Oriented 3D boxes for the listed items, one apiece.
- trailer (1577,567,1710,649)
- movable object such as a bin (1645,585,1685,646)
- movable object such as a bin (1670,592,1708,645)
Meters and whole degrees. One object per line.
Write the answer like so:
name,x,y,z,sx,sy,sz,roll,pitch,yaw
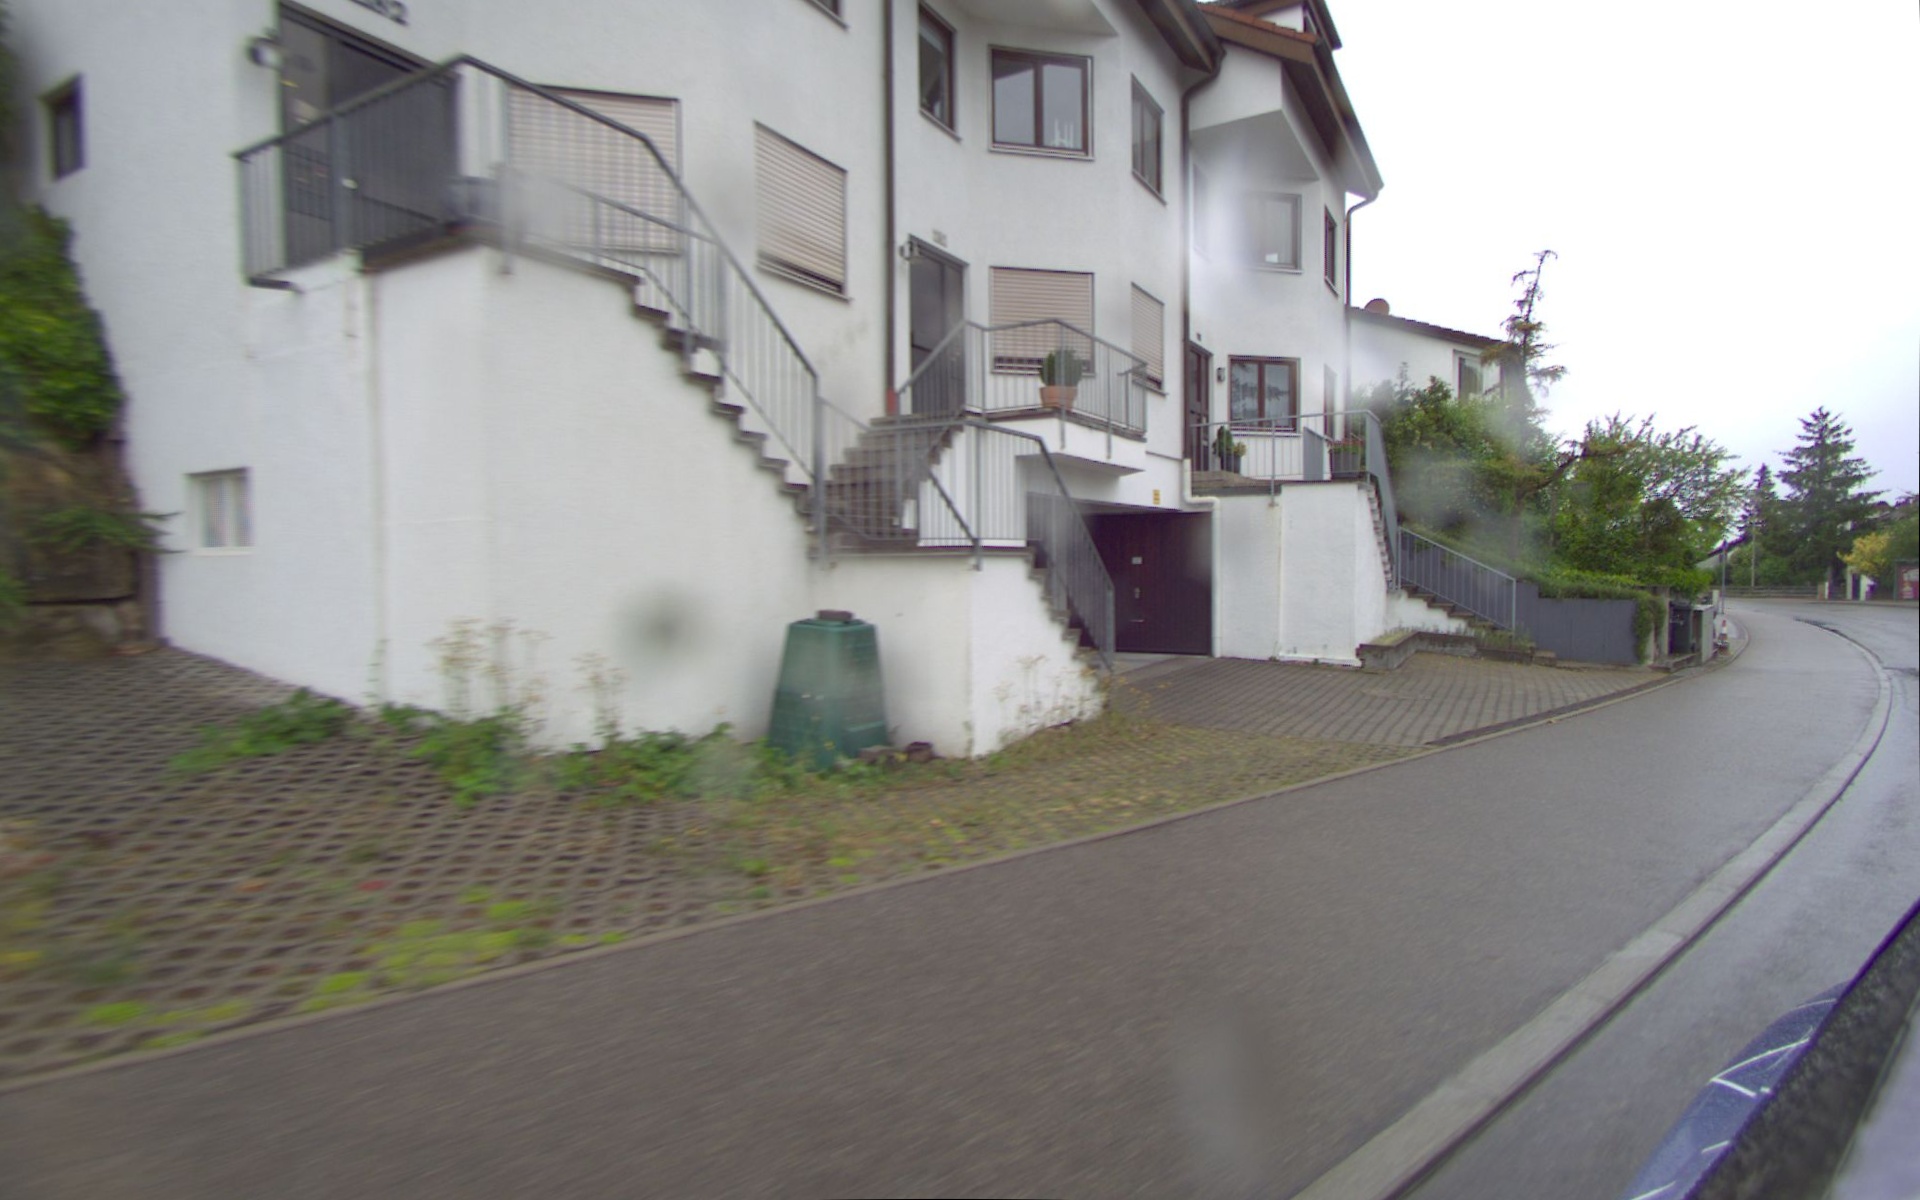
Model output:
trailer,15.855,0.135,23.479,2.351,1.769,1.971,1,2,41
movable object such as a bin,12.648,0.274,18.146,0.492,1.059,0.567,1,2,44
movable object such as a bin,13.371,0.327,18.566,0.492,0.934,0.450,1,2,44
